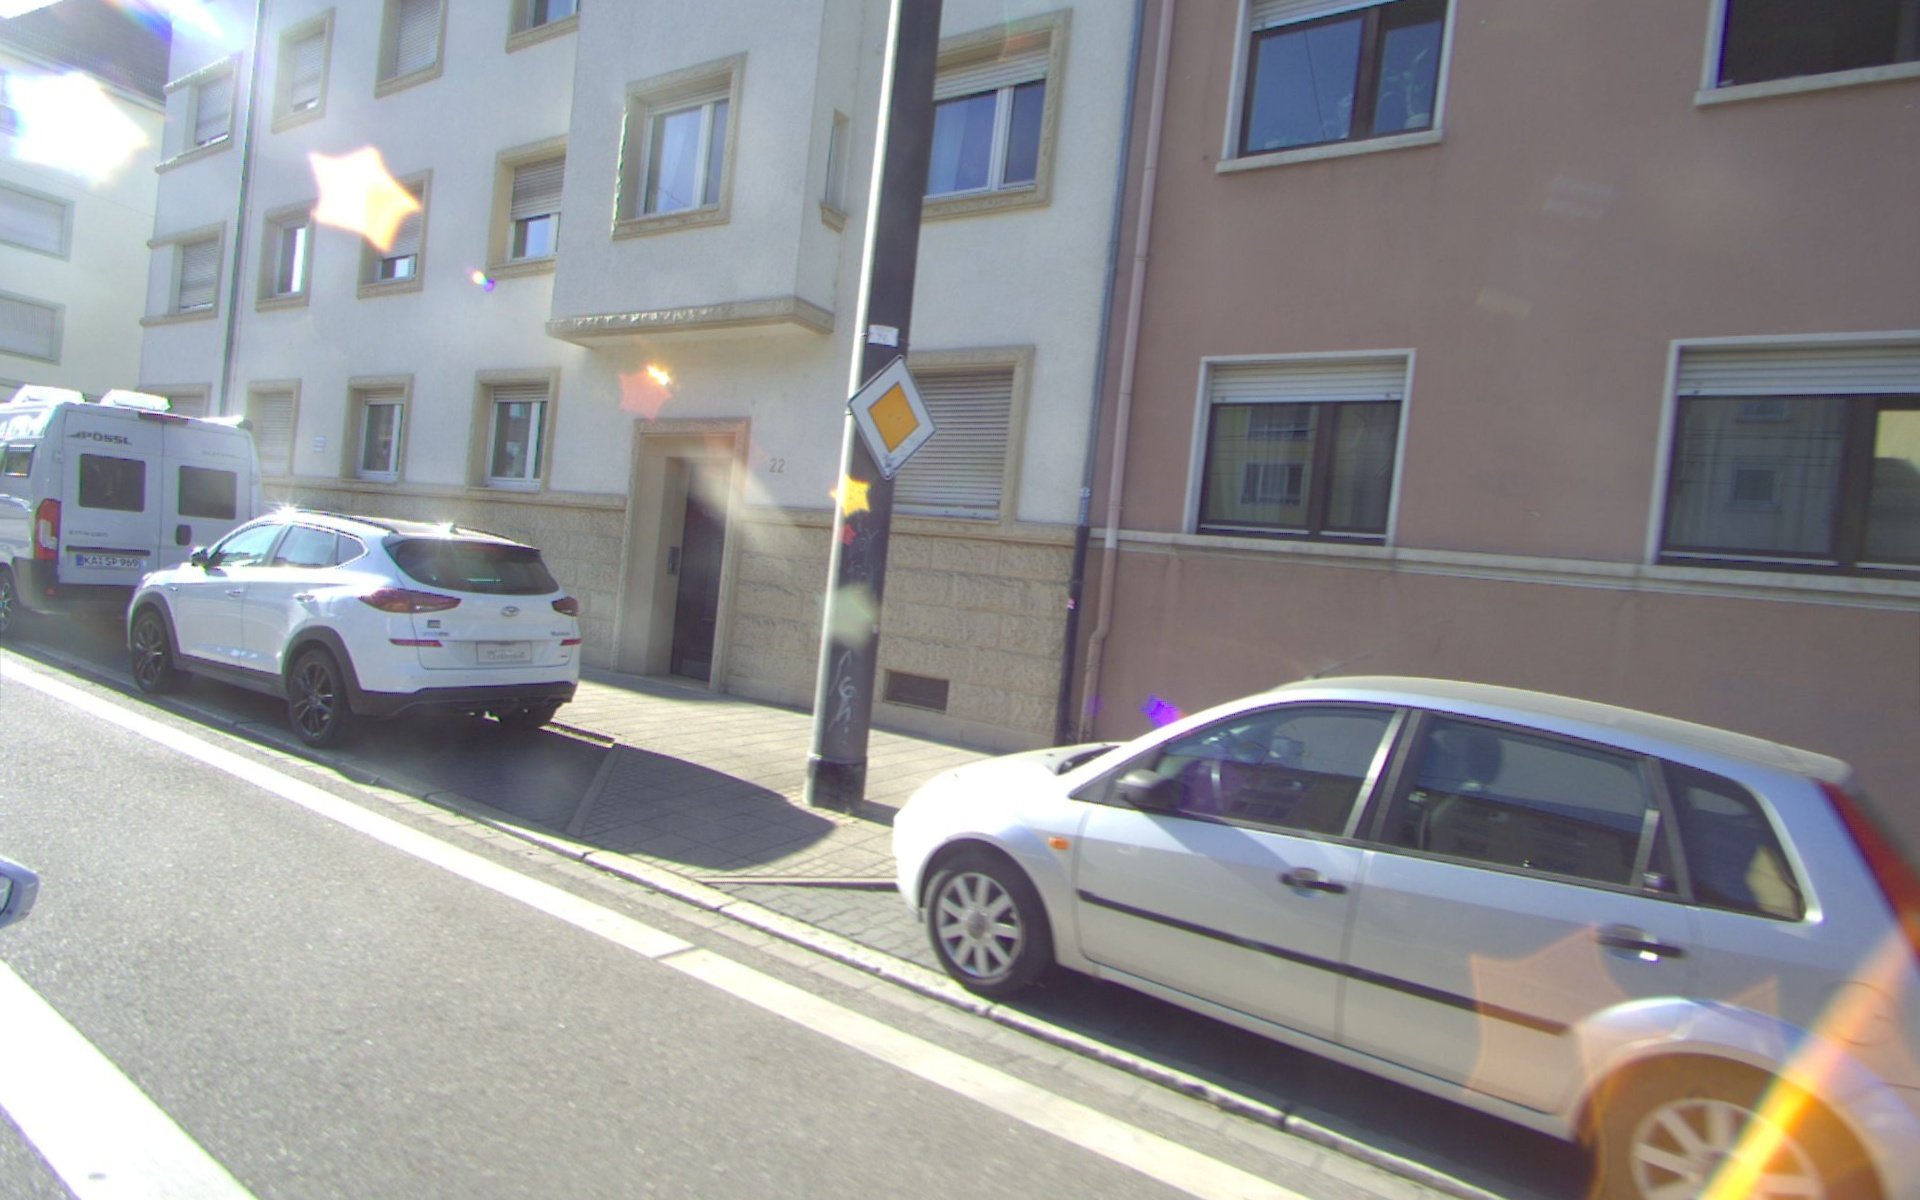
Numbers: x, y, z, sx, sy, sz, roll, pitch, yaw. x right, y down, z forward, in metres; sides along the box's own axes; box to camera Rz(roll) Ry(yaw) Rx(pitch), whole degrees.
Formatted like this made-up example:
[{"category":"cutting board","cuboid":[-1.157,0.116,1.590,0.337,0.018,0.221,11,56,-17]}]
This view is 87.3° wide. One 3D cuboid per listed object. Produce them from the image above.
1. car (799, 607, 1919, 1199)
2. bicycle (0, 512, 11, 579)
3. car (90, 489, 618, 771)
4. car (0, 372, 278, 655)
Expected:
[{"category":"car","cuboid":[1.413,0.981,4.069,3.990,1.481,1.620,7,3,34]},{"category":"bicycle","cuboid":[-16.719,-0.968,16.344,1.887,1.102,0.472,5,4,-14]},{"category":"car","cuboid":[-5.209,0.111,8.475,4.498,1.659,1.849,7,2,31]},{"category":"car","cuboid":[-11.051,-1.086,12.308,6.189,2.733,2.150,6,3,33]}]
